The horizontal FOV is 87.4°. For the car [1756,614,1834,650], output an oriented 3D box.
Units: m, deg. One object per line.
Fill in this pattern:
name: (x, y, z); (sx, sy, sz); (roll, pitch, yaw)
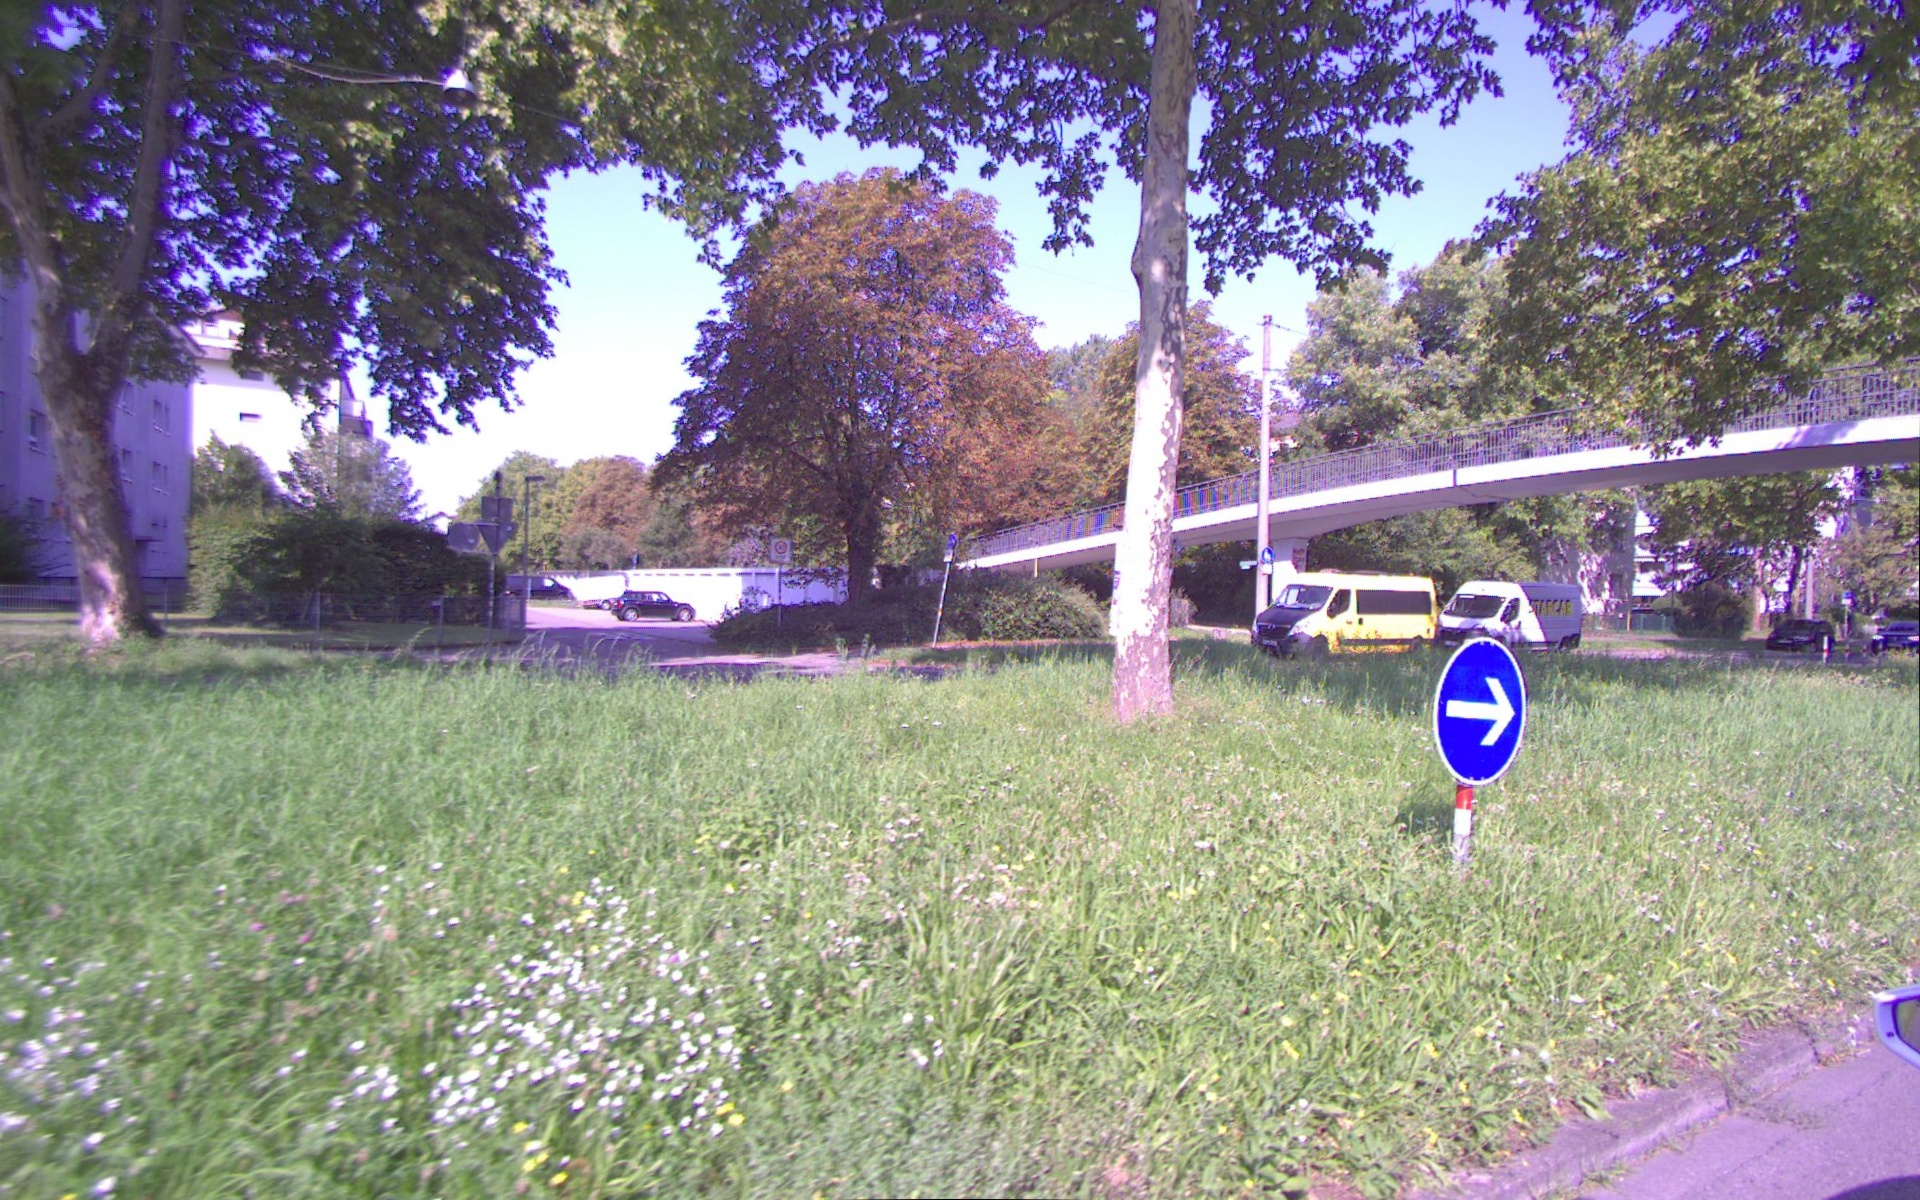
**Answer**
car: (39.357, 1.515, 47.354); (3.816, 1.553, 1.516); (2, 0, -29)

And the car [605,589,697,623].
car: (-14.667, 0.300, 47.711); (3.880, 1.486, 1.688); (2, 0, -30)

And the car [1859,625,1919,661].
car: (44.200, 2.007, 47.214); (4.409, 1.553, 1.777); (2, 1, -34)

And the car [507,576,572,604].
car: (-30.700, -0.720, 73.373); (4.188, 1.841, 1.688); (2, 0, -30)

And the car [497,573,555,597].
car: (-35.431, -1.218, 82.022); (4.188, 1.841, 1.688); (2, 0, -30)

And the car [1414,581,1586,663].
car: (17.844, 0.730, 33.069); (6.197, 2.462, 2.195); (2, 1, -33)

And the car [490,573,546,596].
car: (-38.045, -1.327, 86.507); (4.188, 1.841, 1.688); (2, 0, -30)

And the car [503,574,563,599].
car: (-33.613, -1.067, 79.164); (4.187, 1.841, 1.688); (1, 1, -30)

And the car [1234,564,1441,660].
car: (10.862, 0.367, 28.725); (5.990, 2.512, 2.197); (2, 1, -30)
